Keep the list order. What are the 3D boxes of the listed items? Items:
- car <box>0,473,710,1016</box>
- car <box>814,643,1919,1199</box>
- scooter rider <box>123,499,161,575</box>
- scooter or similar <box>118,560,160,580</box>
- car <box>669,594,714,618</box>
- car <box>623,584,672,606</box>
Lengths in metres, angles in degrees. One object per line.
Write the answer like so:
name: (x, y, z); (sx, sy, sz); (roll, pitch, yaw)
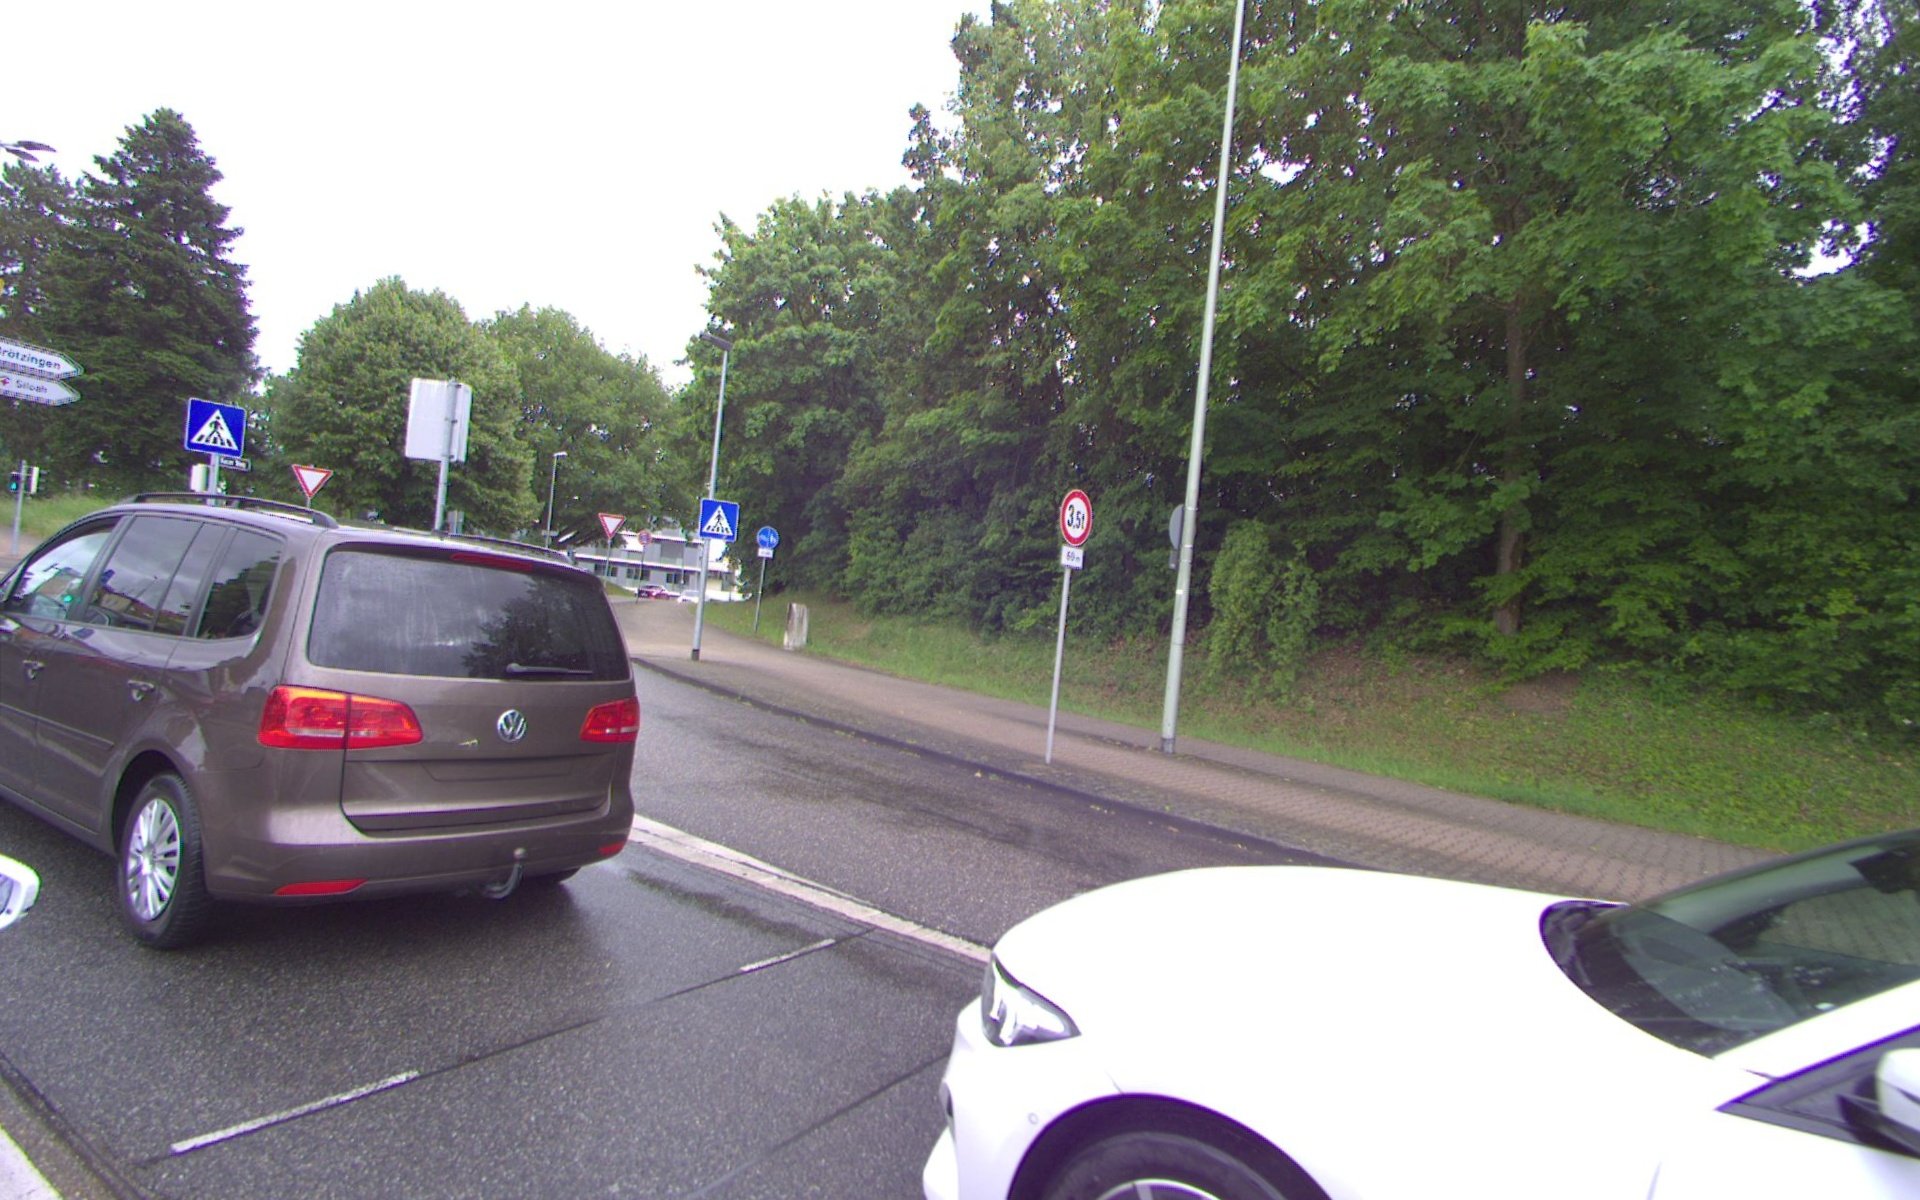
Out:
car: (-3.335, 0.385, 4.885); (3.915, 1.628, 1.750); (6, -2, 32)
car: (2.150, 1.111, 1.771); (4.601, 1.473, 1.784); (6, -2, 30)
scooter rider: (-22.339, -1.720, 27.487); (0.538, 1.990, 0.501); (7, 1, 31)
scooter or similar: (-22.439, -0.813, 27.486); (1.235, 0.408, 0.487); (7, 0, 31)
car: (-23.474, 0.572, 88.092); (1.817, 1.883, 3.999); (5, 0, 17)
car: (-24.113, -0.342, 77.694); (1.817, 1.446, 4.001); (5, 0, 12)
